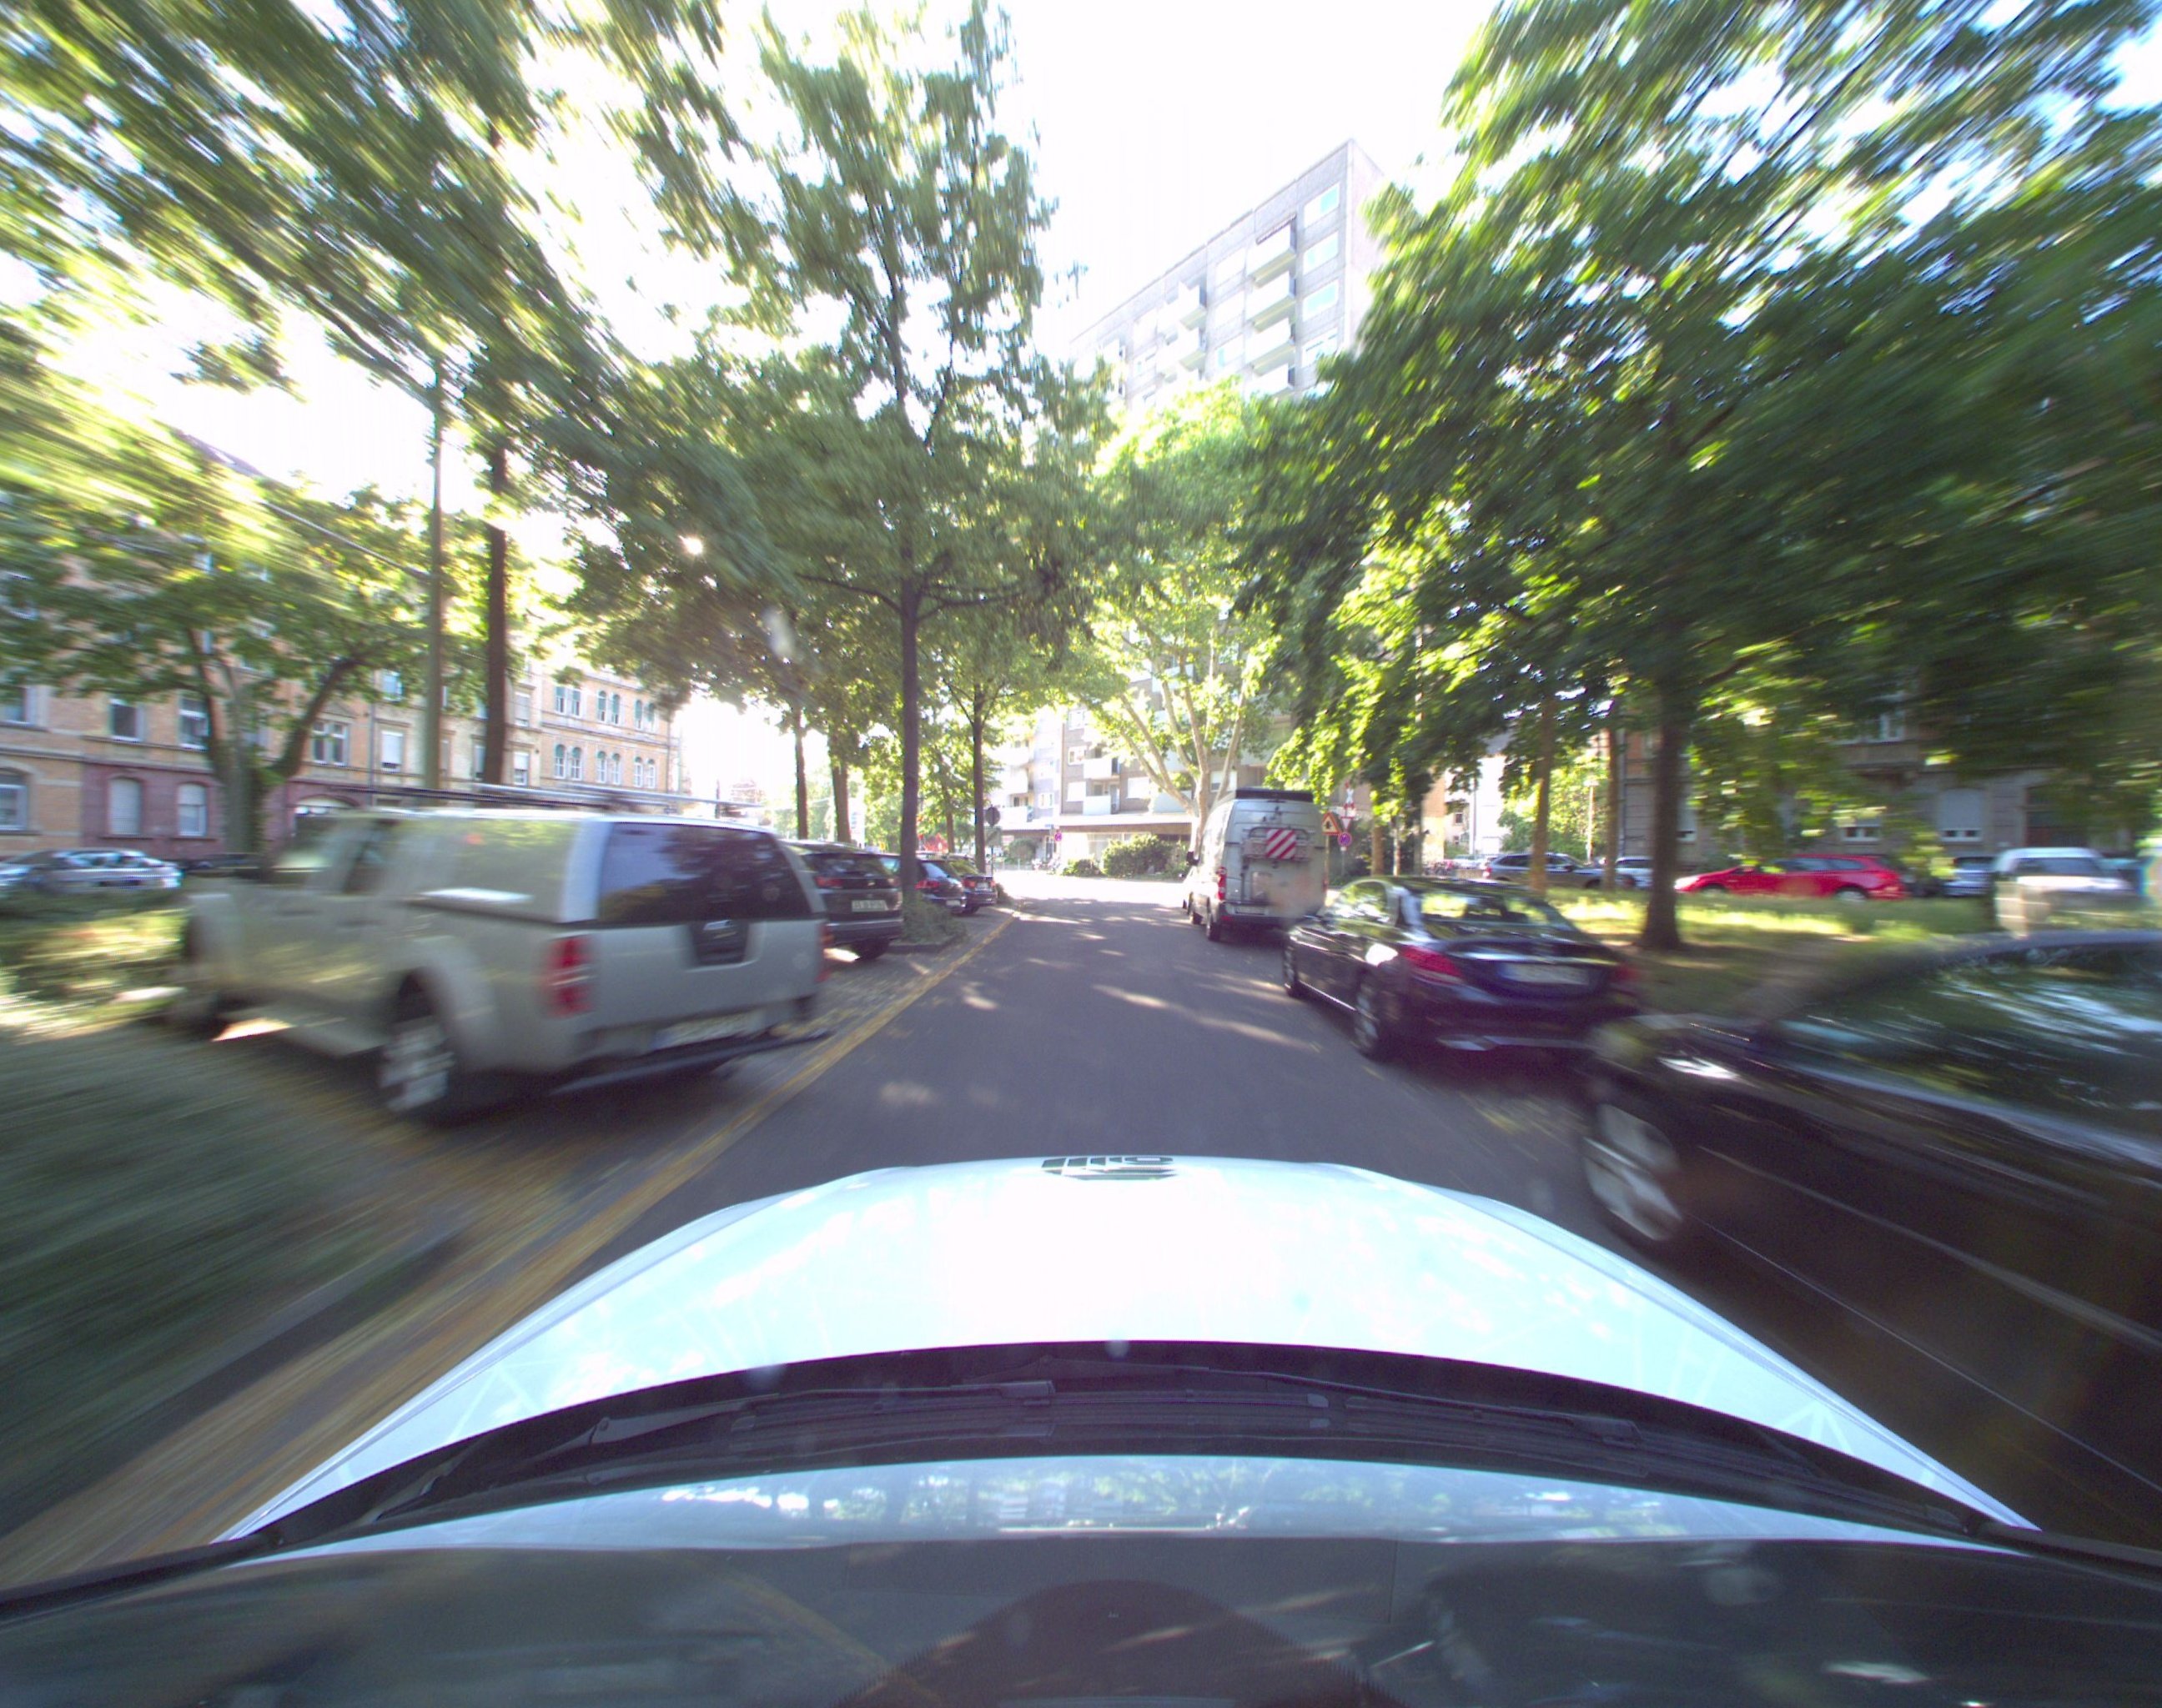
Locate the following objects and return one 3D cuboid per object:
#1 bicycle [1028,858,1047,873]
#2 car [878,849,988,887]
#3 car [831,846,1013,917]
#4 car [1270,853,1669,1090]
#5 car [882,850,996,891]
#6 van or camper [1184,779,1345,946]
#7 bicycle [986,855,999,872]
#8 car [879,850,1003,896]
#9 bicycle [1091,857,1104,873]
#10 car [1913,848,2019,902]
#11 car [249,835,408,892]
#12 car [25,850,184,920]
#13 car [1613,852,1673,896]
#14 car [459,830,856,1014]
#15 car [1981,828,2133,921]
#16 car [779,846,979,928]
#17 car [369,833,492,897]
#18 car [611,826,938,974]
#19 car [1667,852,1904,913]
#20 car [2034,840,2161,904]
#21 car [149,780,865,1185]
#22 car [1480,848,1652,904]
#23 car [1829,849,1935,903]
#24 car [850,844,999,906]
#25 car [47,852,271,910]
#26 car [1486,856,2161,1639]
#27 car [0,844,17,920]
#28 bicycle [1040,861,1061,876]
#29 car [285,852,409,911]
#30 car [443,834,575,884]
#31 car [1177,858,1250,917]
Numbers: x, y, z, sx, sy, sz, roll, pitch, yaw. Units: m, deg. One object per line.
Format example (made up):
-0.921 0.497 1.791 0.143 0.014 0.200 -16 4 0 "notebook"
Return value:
-2.948 0.778 55.353 0.641 1.022 2.072 0 0 -22 "bicycle"
-6.352 0.590 35.001 4.247 1.429 1.782 2 0 17 "car"
-4.030 0.646 20.584 4.149 1.439 1.842 3 0 25 "car"
3.069 0.768 7.591 1.674 1.525 4.491 1 0 1 "car"
-5.608 0.637 32.280 3.998 1.406 1.781 2 0 15 "car"
3.433 0.139 16.528 2.076 2.762 5.847 1 0 1 "van or camper"
-6.688 0.708 61.555 0.640 1.226 2.076 0 0 -17 "bicycle"
-5.037 0.650 29.451 3.943 1.365 1.782 3 0 16 "car"
1.078 0.687 52.893 0.351 1.038 1.041 0 0 -34 "bicycle"
27.866 0.610 25.762 1.630 1.596 3.671 0 0 37 "car"
-30.424 0.322 33.197 1.847 2.063 4.997 3 1 -2 "car"
-21.764 0.621 18.123 4.234 1.381 1.604 0 0 31 "car"
21.724 0.708 31.428 1.712 1.473 4.026 0 2 37 "car"
-4.693 0.594 8.932 4.109 1.459 1.781 3 0 28 "car"
20.553 0.505 17.319 4.425 1.708 1.712 5 -3 -44 "car"
-4.397 0.667 17.736 3.825 1.439 1.842 3 0 25 "car"
-22.126 0.334 27.688 3.949 2.013 2.013 0 0 31 "car"
-4.420 0.540 11.668 4.304 1.626 1.953 3 0 28 "car"
18.451 0.702 21.544 4.587 1.449 1.754 0 -2 43 "car"
29.639 0.439 23.608 1.712 1.630 4.513 0 2 37 "car"
-4.147 0.500 5.717 4.940 1.781 1.999 3 0 28 "car"
14.800 0.646 25.003 1.752 1.552 4.224 5 -3 -44 "car"
25.700 0.657 26.279 1.884 1.618 3.801 0 0 36 "car"
-4.572 0.580 23.777 3.837 1.494 1.842 3 0 27 "car"
-29.549 0.800 26.404 1.846 1.541 4.769 3 1 -2 "car"
2.992 0.792 2.276 1.674 1.525 4.288 1 0 1 "car"
-21.537 0.504 14.899 3.693 1.381 1.737 0 0 25 "car"
-1.996 0.950 53.631 0.546 0.904 1.717 0 0 -34 "bicycle"
-21.931 0.758 24.321 3.604 1.640 1.671 0 0 29 "car"
-21.646 0.167 30.775 4.775 1.764 2.097 0 0 27 "car"
3.708 0.895 23.376 1.673 1.446 3.876 3 0 4 "car"
